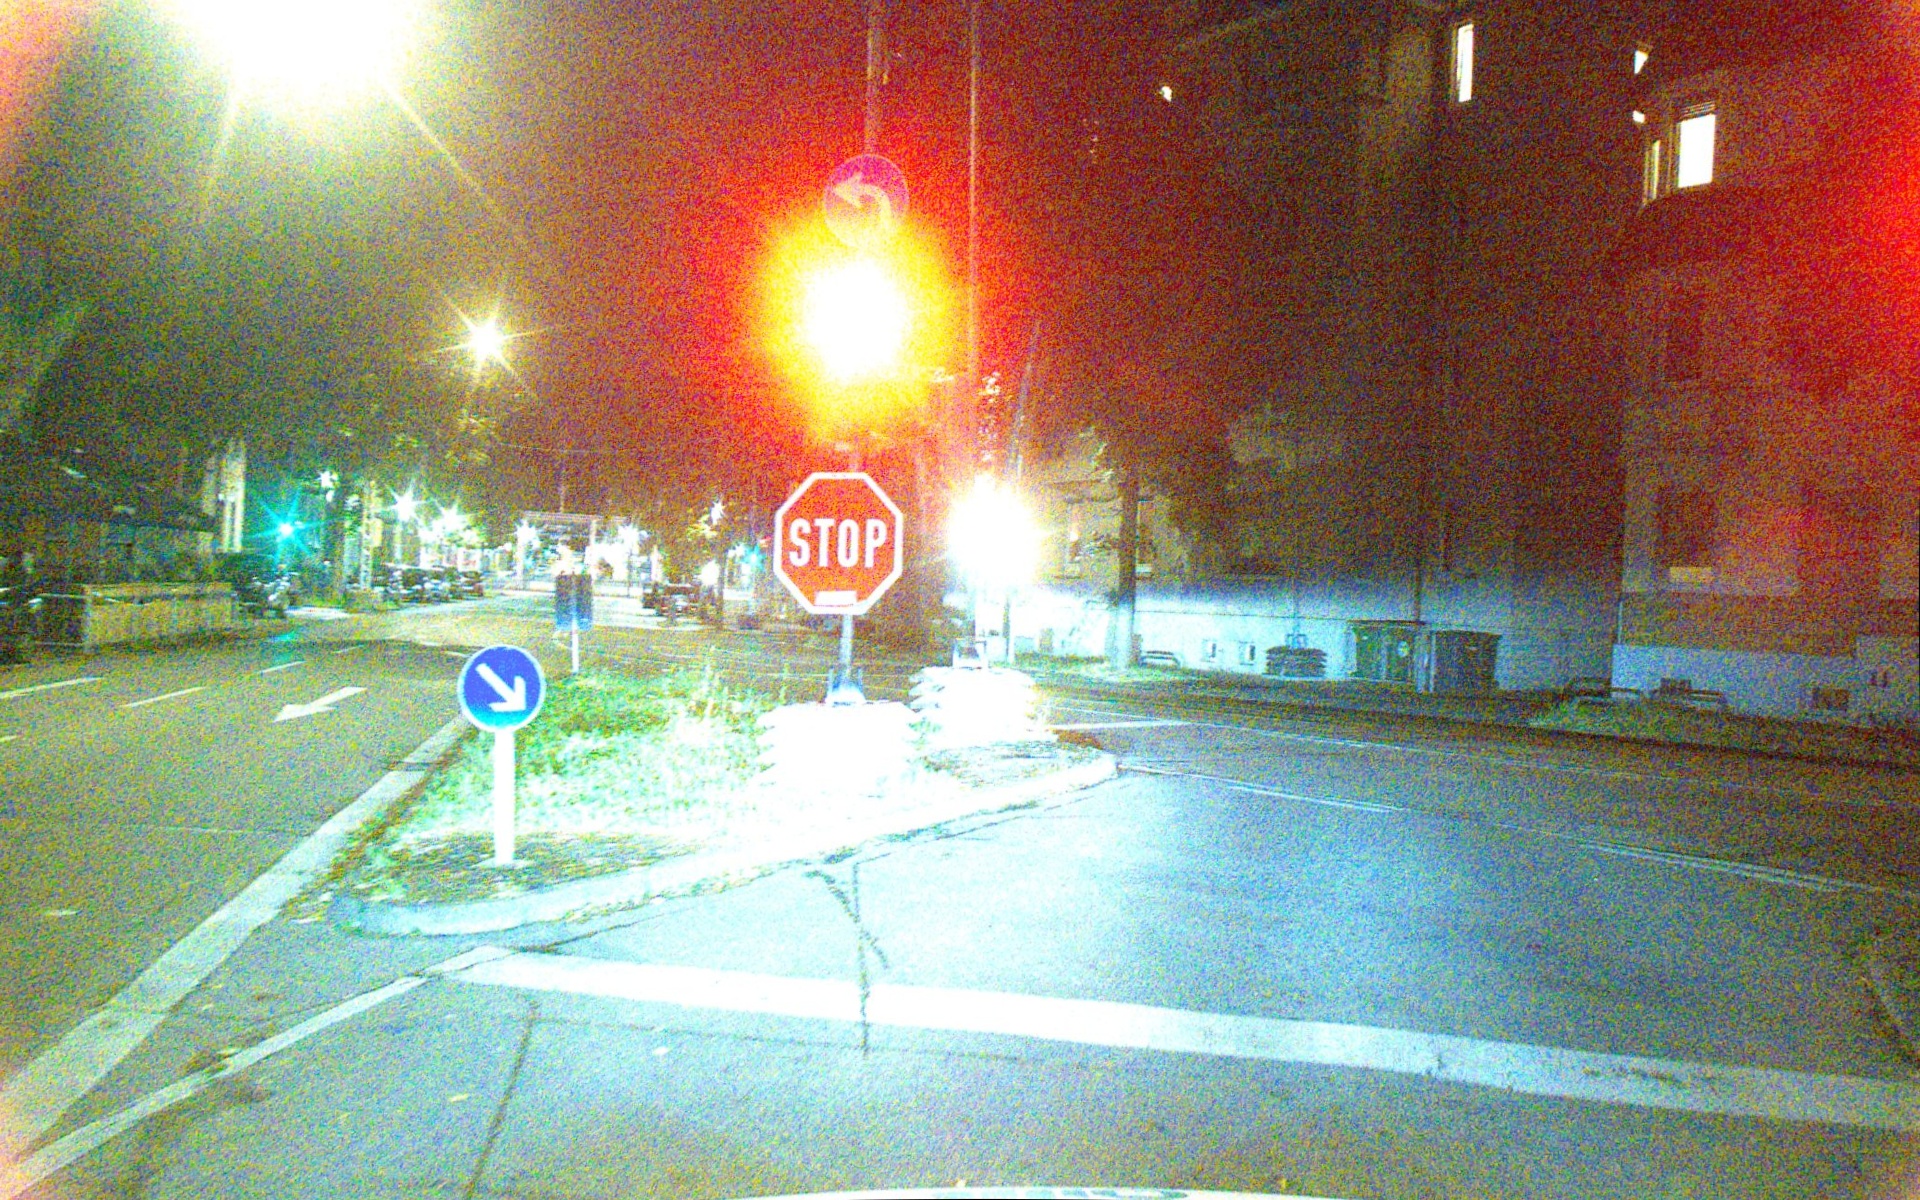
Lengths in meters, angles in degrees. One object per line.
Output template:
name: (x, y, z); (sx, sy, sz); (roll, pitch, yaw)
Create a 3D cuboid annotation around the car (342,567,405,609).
car: (-21.793, -0.450, 61.542); (1.622, 1.456, 3.989); (2, 0, -12)

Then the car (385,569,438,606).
car: (-23.054, -0.544, 69.636); (1.622, 1.456, 3.989); (2, 0, -12)

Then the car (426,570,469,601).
car: (-25.490, -0.705, 82.394); (1.622, 1.456, 3.989); (2, 0, -12)

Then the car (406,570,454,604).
car: (-24.198, -0.613, 75.649); (1.622, 1.456, 3.989); (2, 0, -12)

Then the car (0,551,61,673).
car: (-12.723, 0.115, 20.289); (1.772, 1.507, 4.309); (2, 0, -12)

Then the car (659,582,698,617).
car: (-12.691, -0.036, 74.515); (1.621, 1.456, 3.990); (2, 0, -10)

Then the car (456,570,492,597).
car: (-28.133, -0.944, 95.835); (1.622, 1.456, 3.989); (2, 0, -12)

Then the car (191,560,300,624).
car: (-17.461, -0.201, 40.591); (1.622, 1.456, 3.989); (2, 0, -12)
